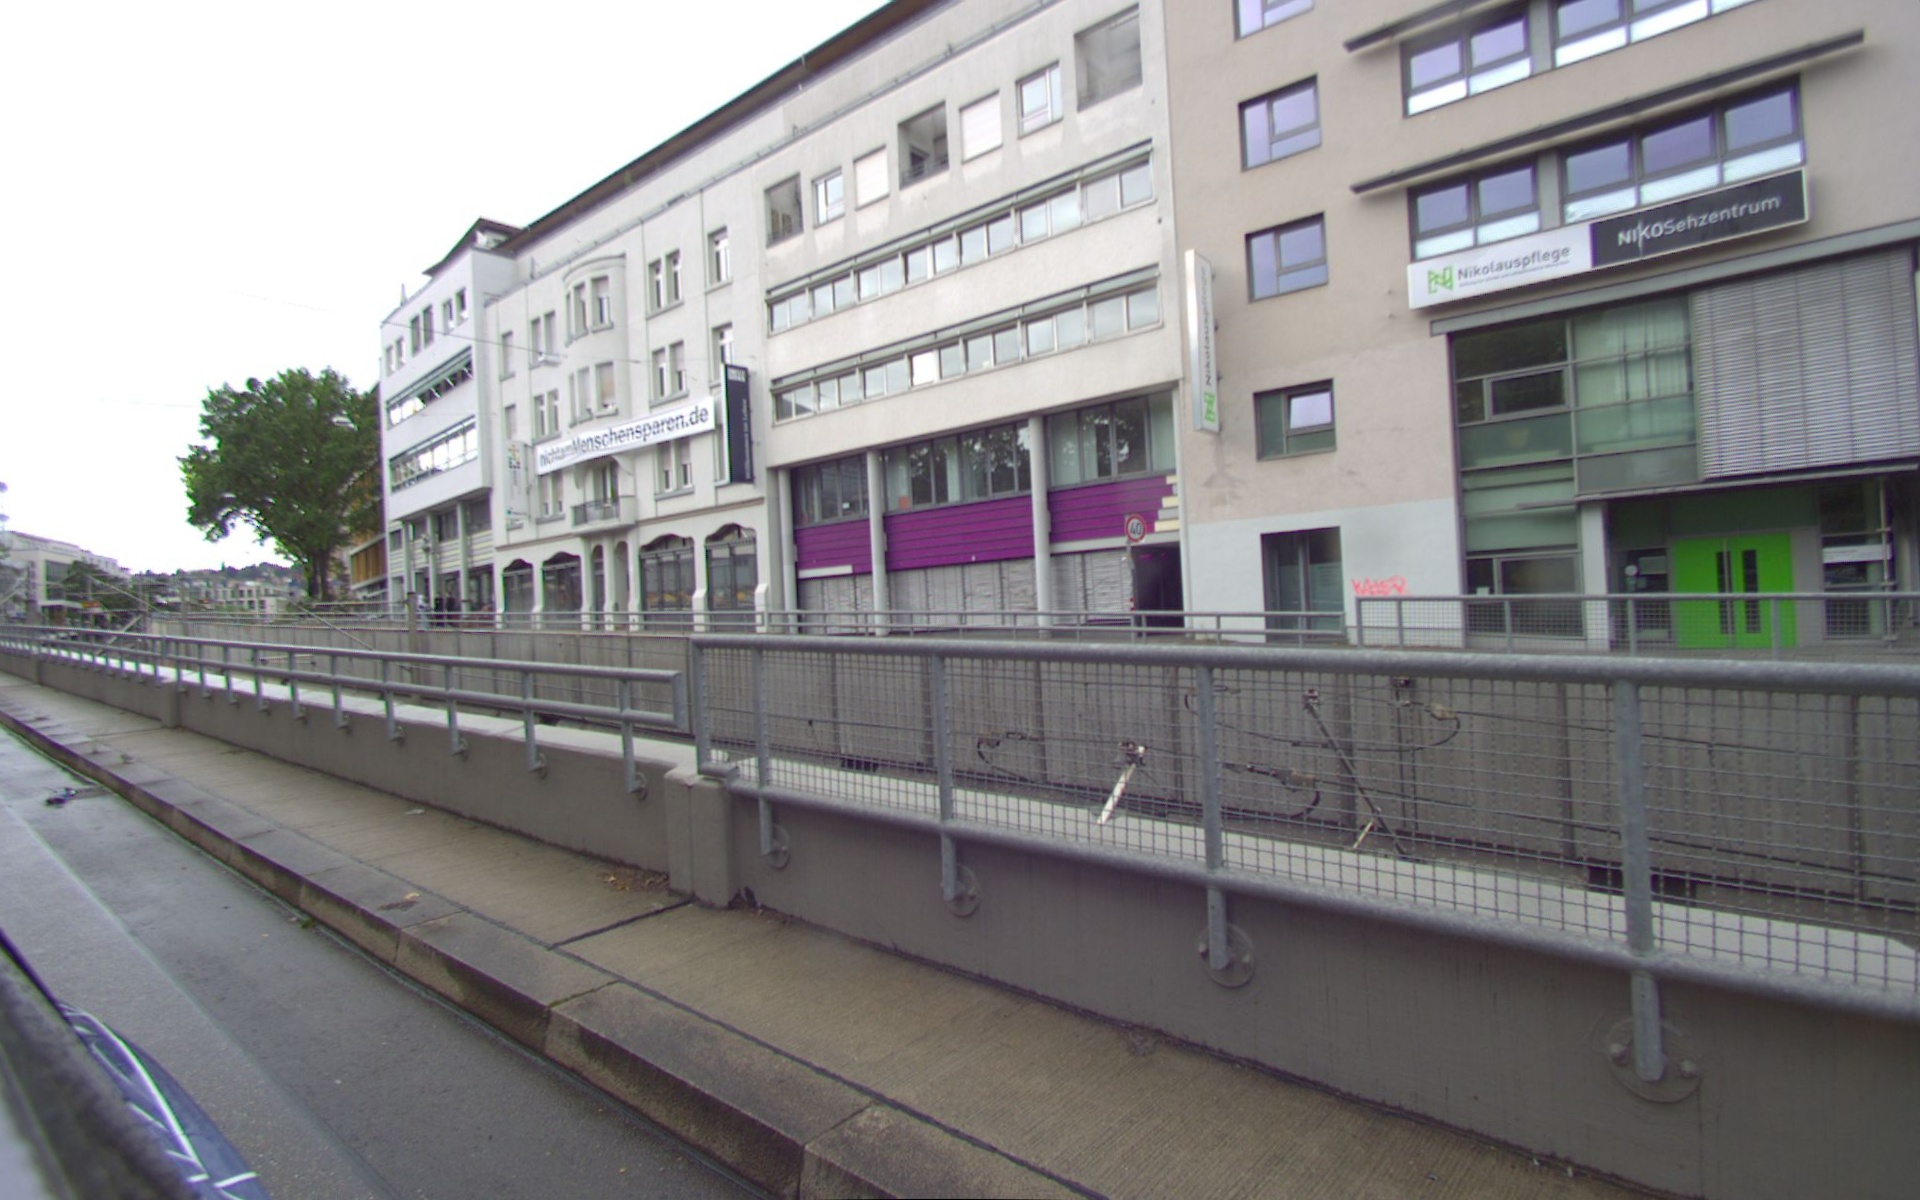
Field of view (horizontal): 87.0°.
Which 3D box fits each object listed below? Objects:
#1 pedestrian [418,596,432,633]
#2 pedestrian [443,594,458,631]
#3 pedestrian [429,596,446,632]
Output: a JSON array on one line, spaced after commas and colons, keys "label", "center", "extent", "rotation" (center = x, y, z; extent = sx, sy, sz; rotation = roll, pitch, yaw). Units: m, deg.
[{"label": "pedestrian", "center": [-26.675, 0.721, 50.451], "extent": [0.463, 1.816, 0.548], "rotation": [-3, 1, -42]}, {"label": "pedestrian", "center": [-25.415, 0.611, 50.469], "extent": [0.547, 1.816, 0.463], "rotation": [-2, 1, 44]}, {"label": "pedestrian", "center": [-26.429, 0.711, 51.217], "extent": [0.469, 1.816, 0.541], "rotation": [-2, 1, 33]}]
